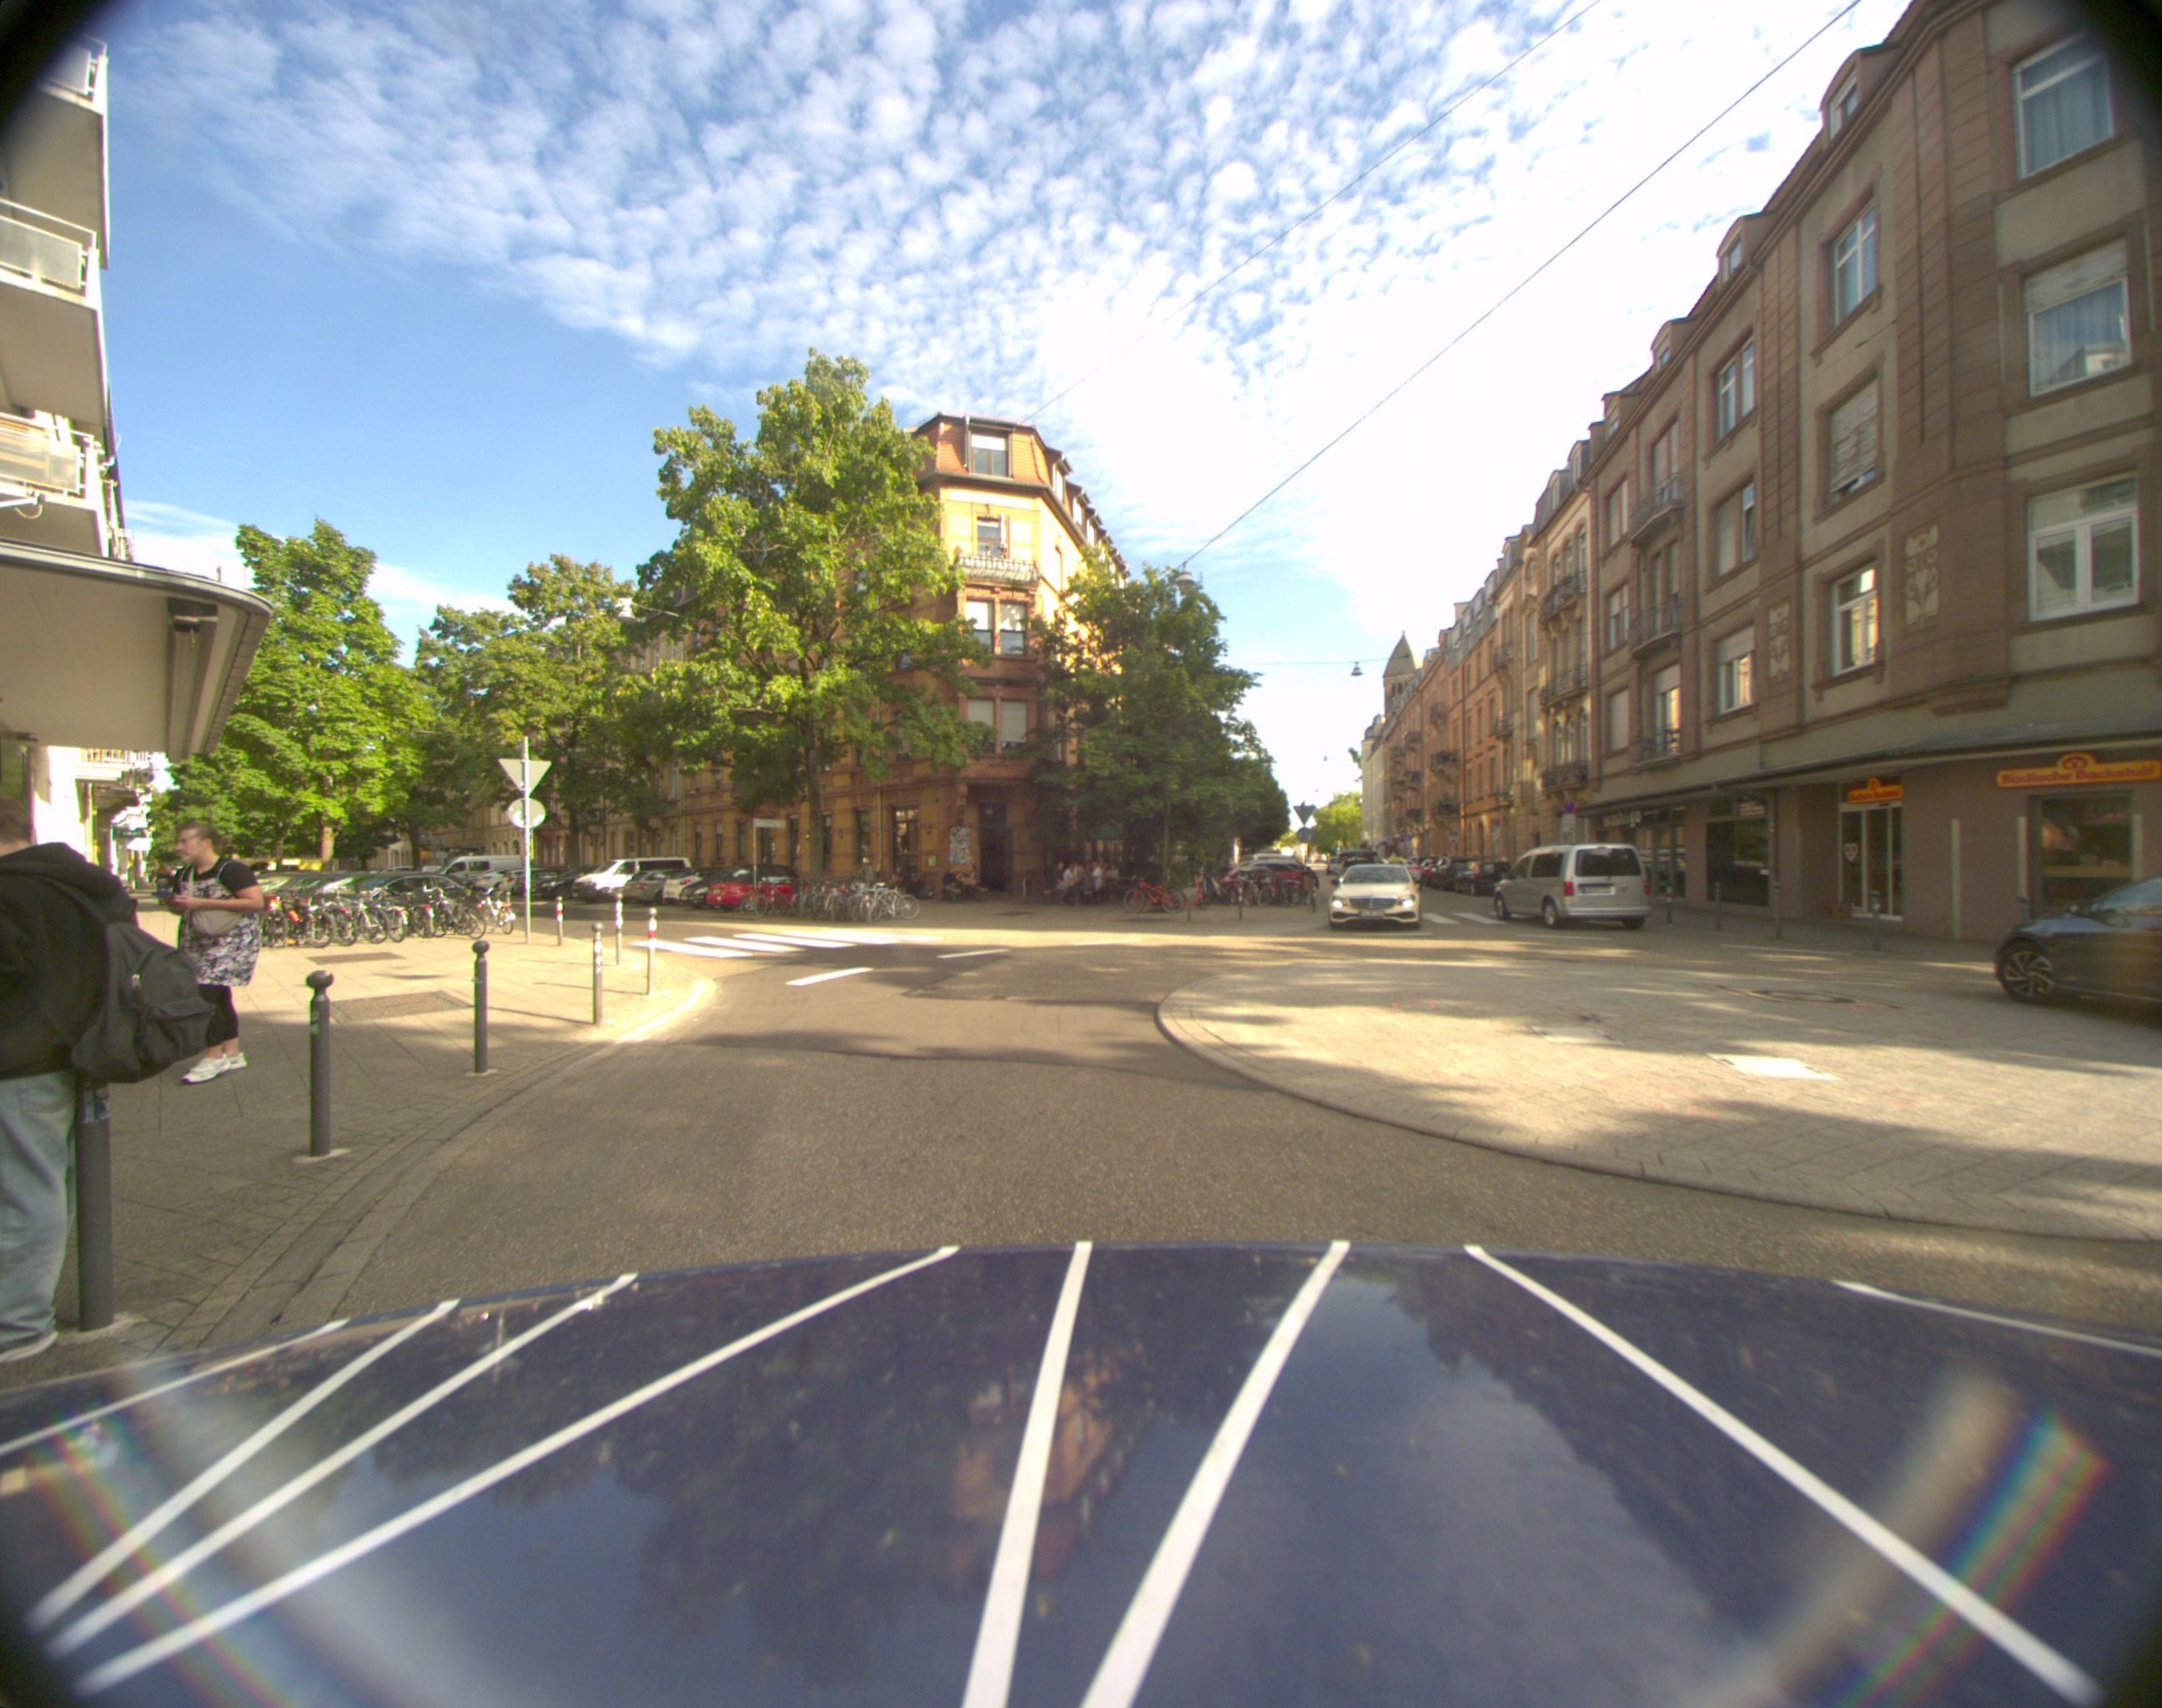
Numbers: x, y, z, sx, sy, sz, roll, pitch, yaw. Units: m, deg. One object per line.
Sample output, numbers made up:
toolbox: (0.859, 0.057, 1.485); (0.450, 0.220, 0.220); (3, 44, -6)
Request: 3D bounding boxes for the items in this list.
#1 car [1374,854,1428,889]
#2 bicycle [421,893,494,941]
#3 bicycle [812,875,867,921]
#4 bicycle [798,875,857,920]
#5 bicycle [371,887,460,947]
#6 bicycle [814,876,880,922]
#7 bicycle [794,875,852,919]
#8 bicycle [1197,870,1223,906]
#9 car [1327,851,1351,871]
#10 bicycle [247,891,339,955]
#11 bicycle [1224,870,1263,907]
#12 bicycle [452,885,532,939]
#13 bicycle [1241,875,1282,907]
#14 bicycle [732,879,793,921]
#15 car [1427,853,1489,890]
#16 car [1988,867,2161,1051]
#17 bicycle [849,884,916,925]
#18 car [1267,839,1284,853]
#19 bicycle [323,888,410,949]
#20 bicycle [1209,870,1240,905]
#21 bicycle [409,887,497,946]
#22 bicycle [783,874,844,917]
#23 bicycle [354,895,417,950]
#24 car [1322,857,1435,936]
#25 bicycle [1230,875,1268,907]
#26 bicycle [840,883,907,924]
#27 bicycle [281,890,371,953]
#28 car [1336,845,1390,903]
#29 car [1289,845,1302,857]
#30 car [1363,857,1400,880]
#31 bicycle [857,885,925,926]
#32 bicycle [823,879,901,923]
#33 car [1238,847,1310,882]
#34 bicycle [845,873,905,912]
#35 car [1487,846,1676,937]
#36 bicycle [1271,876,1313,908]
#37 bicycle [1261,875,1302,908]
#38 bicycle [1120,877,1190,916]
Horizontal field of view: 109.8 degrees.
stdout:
car: (16.206, 0.880, 38.746); (1.996, 1.624, 4.850); (-2, -1, 17)
bicycle: (-13.650, 1.365, 16.637); (1.420, 0.995, 0.493); (0, -1, 16)
bicycle: (-7.043, 1.273, 22.237); (0.447, 1.195, 1.715); (0, 2, 27)
bicycle: (-7.505, 1.272, 22.546); (0.447, 1.195, 1.715); (0, 2, 33)
bicycle: (-13.504, 1.263, 15.417); (1.849, 1.169, 0.414); (0, -1, 16)
bicycle: (-6.646, 1.257, 21.630); (1.715, 1.195, 0.447); (-2, 2, -36)
bicycle: (-7.775, 1.269, 22.961); (0.447, 1.195, 1.715); (0, 2, 33)
bicycle: (4.317, 1.127, 25.442); (0.434, 1.094, 1.674); (1, 1, -4)
car: (26.529, 0.707, 78.256); (1.941, 1.868, 4.842); (-2, -1, 15)
bicycle: (-14.350, 1.236, 13.828); (1.695, 1.079, 0.422); (1, 0, 17)
bicycle: (5.387, 1.131, 25.285); (0.475, 1.136, 1.836); (1, 1, -15)
bicycle: (-13.408, 1.301, 17.297); (1.849, 1.169, 0.414); (0, -1, 16)
bicycle: (6.102, 1.234, 25.790); (0.472, 0.979, 1.862); (1, 1, -15)
bicycle: (-9.603, 1.357, 22.858); (2.493, 1.090, 0.583); (0, 4, 41)
car: (18.029, 0.796, 36.511); (1.859, 1.575, 4.404); (-2, 0, 16)
car: (9.405, 0.853, 5.697); (1.793, 1.429, 4.007); (1, 0, 25)
bicycle: (-5.398, 1.353, 20.745); (1.715, 0.981, 0.447); (-2, 2, -36)
car: (25.341, -1.018, 99.232); (1.848, 1.724, 4.004); (-2, -1, 10)
bicycle: (-13.690, 1.226, 14.551); (1.695, 1.079, 0.422); (1, 0, 17)
bicycle: (4.806, 1.113, 25.535); (0.475, 1.094, 1.673); (1, 1, -9)
bicycle: (-12.983, 1.265, 15.705); (1.849, 1.169, 0.414); (0, -1, 16)
bicycle: (-8.197, 1.260, 23.307); (0.447, 1.195, 1.716); (1, 3, 45)
bicycle: (-13.594, 1.319, 14.844); (1.498, 1.012, 0.414); (-1, -1, 27)
car: (7.169, 0.898, 17.981); (1.940, 1.588, 4.845); (-2, -1, 28)
bicycle: (5.645, 1.226, 25.665); (0.418, 0.979, 1.836); (1, 1, -15)
bicycle: (-5.723, 1.355, 21.041); (1.715, 0.981, 0.447); (-2, 2, -36)
bicycle: (-14.018, 1.230, 14.110); (1.695, 1.079, 0.422); (1, 0, 17)
car: (10.570, 0.711, 28.663); (1.790, 2.051, 4.006); (0, 0, 19)
car: (37.434, -0.528, 132.786); (1.996, 1.877, 4.006); (-2, -1, 18)
car: (19.713, 0.934, 49.929); (1.767, 1.373, 4.457); (-4, -1, 16)
bicycle: (-5.082, 1.367, 20.417); (1.715, 0.964, 0.447); (-2, 2, -36)
bicycle: (-6.123, 1.304, 21.301); (2.049, 1.083, 0.447); (-2, 2, -36)
car: (14.182, 0.782, 55.876); (4.742, 2.408, 1.997); (-2, -1, -17)
bicycle: (-6.676, 1.233, 24.692); (0.598, 1.108, 1.803); (1, 3, 45)
car: (10.959, 0.754, 17.069); (1.832, 1.780, 4.334); (0, 0, 8)
bicycle: (7.217, 1.276, 26.025); (0.472, 0.979, 1.862); (1, 1, -15)
bicycle: (6.797, 1.256, 25.852); (0.472, 0.979, 1.862); (1, 1, -15)
bicycle: (2.065, 1.171, 21.211); (1.853, 1.029, 0.684); (0, 0, 15)
